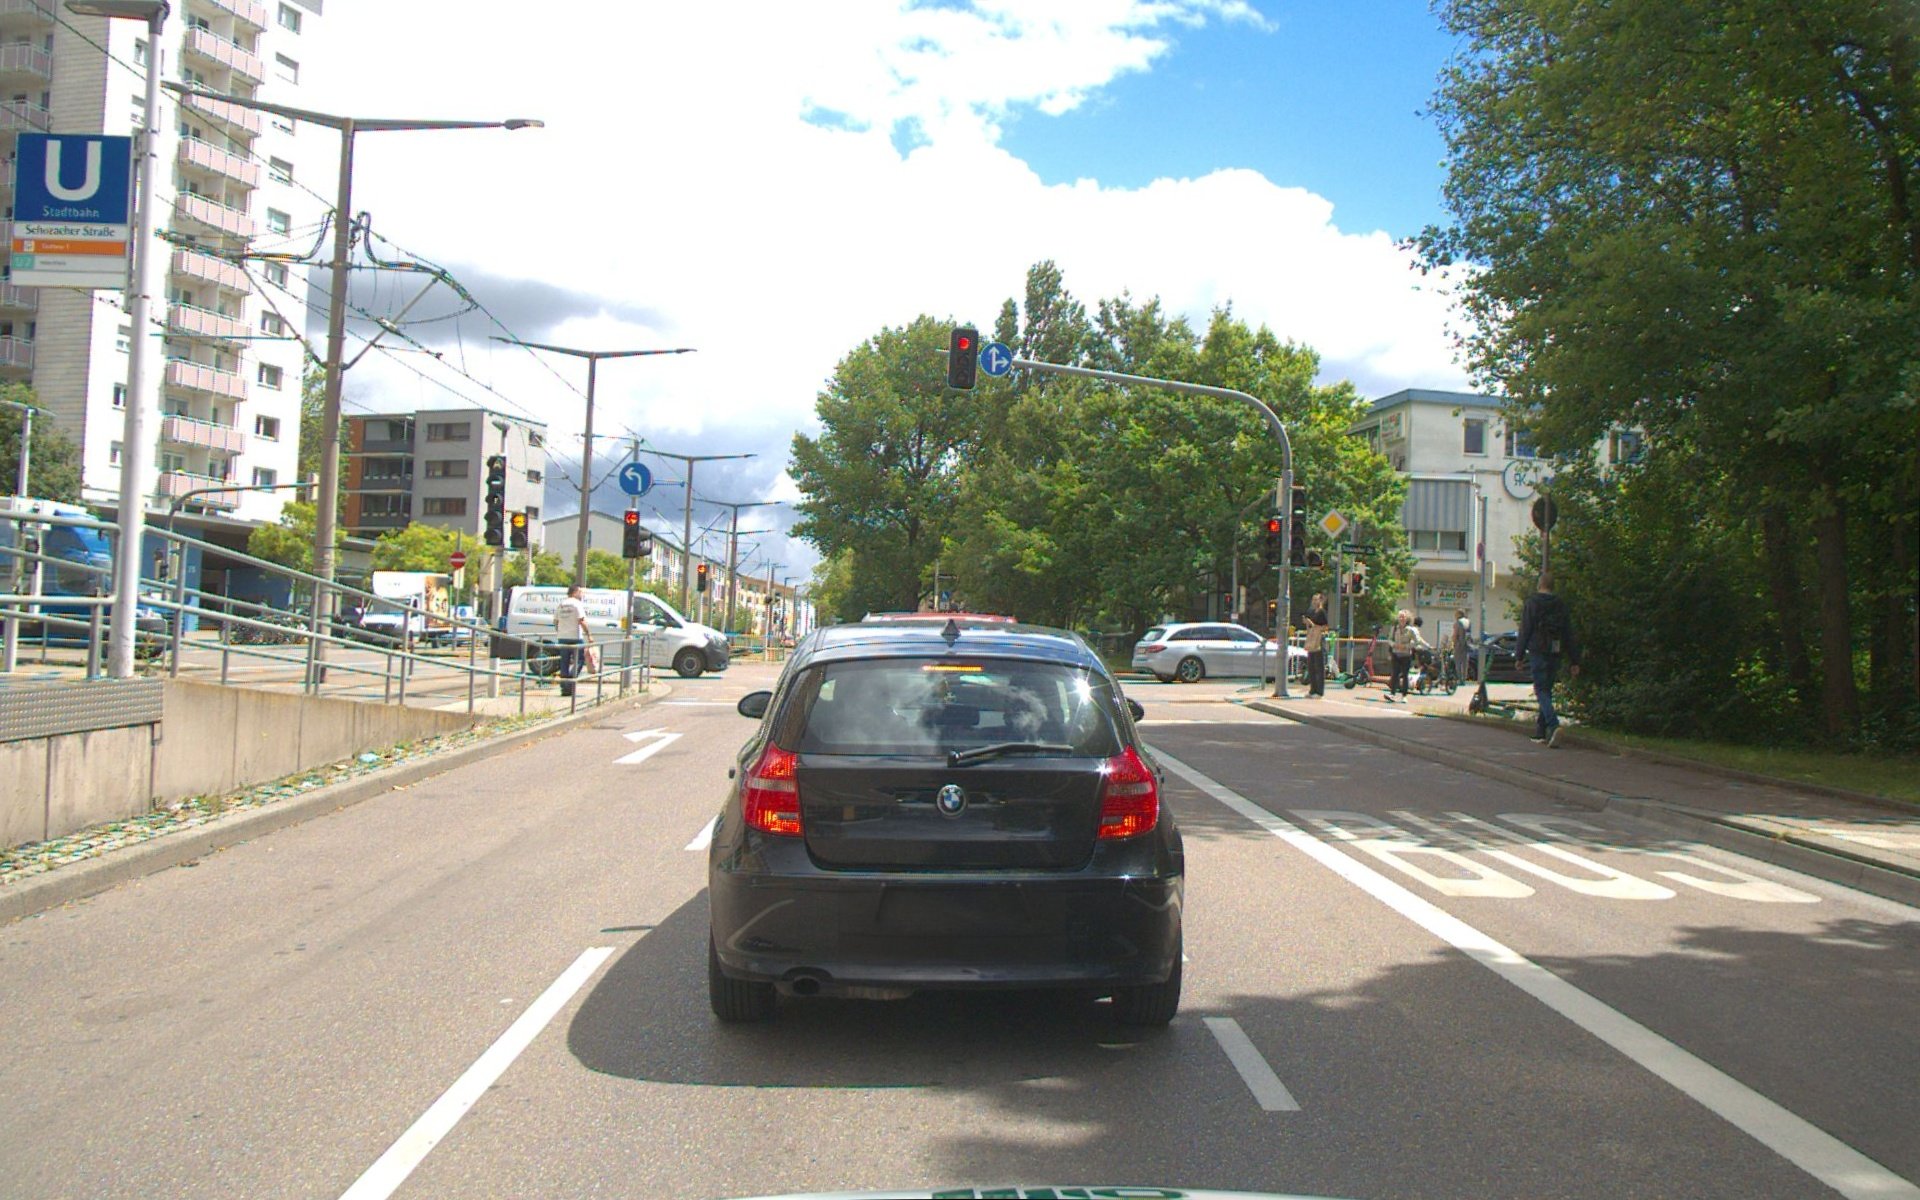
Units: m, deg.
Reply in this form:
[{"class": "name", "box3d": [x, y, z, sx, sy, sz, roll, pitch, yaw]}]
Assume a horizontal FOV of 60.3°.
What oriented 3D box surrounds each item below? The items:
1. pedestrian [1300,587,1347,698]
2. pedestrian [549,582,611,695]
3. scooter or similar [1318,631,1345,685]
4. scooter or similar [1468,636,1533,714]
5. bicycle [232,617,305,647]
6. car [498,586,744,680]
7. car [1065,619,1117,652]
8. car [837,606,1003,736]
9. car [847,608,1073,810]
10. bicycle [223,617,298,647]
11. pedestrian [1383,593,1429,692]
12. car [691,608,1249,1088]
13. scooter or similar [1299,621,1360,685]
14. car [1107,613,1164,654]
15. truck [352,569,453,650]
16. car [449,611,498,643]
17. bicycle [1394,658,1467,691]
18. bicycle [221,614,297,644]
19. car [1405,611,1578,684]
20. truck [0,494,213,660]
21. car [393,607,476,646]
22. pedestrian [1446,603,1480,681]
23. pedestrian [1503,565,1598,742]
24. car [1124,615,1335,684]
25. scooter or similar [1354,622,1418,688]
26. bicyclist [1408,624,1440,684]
[{"class": "pedestrian", "box3d": [6.361, 0.744, 28.937, 0.624, 1.909, 0.517, 1, -1, -11]}, {"class": "pedestrian", "box3d": [-6.046, 0.609, 26.305, 0.671, 1.764, 0.690, 1, -1, 19]}, {"class": "scooter or similar", "box3d": [7.863, 1.219, 35.002, 0.536, 1.082, 1.263, 1, 0, 13]}, {"class": "scooter or similar", "box3d": [9.366, 1.302, 28.674, 0.872, 1.251, 0.454, 6, -1, -1]}, {"class": "bicycle", "box3d": [-26.720, 1.239, 63.921, 2.528, 1.026, 0.748, 3, -3, -29]}, {"class": "car", "box3d": [-7.455, 0.724, 36.804, 5.068, 1.926, 1.998, 1, -1, -4]}, {"class": "car", "box3d": [7.161, 1.937, 90.763, 1.830, 1.691, 3.988, 2, -1, -12]}, {"class": "car", "box3d": [-0.484, 0.817, 21.081, 1.862, 1.447, 4.538, 1, 0, -1]}, {"class": "car", "box3d": [-0.025, 0.792, 13.619, 1.605, 1.424, 3.419, 1, 0, -1]}, {"class": "bicycle", "box3d": [-26.548, 1.238, 62.823, 2.528, 1.026, 0.748, 3, -3, -29]}, {"class": "pedestrian", "box3d": [8.248, 0.784, 30.598, 0.624, 1.797, 0.517, 1, -1, -11]}, {"class": "car", "box3d": [0.011, 0.761, 6.717, 1.666, 1.424, 3.419, 1, 0, -1]}, {"class": "scooter or similar", "box3d": [7.426, 1.061, 33.244, 1.087, 1.257, 0.539, 1, -1, 1]}, {"class": "car", "box3d": [8.449, 1.604, 79.856, 1.694, 1.904, 3.991, 2, -1, -10]}, {"class": "truck", "box3d": [-23.330, 0.397, 69.554, 2.237, 3.172, 7.311, 2, -1, -5]}, {"class": "car", "box3d": [-23.615, 1.299, 80.325, 1.379, 1.486, 3.772, 2, -1, -3]}, {"class": "bicycle", "box3d": [9.501, 1.493, 33.362, 1.571, 0.620, 0.528, 1, -1, -34]}, {"class": "bicycle", "box3d": [-26.221, 1.087, 61.876, 2.528, 1.026, 0.748, 3, -3, -29]}, {"class": "car", "box3d": [15.563, 1.364, 48.537, 4.451, 2.049, 1.996, 0, 0, -9]}, {"class": "truck", "box3d": [-20.253, -0.491, 35.510, 7.135, 3.407, 2.602, 1, -1, -10]}, {"class": "car", "box3d": [-28.116, 1.439, 88.608, 3.892, 2.009, 1.630, 2, -1, -43]}, {"class": "pedestrian", "box3d": [11.466, 0.958, 37.699, 0.644, 1.743, 0.461, 1, -1, 27]}, {"class": "pedestrian", "box3d": [6.589, 0.587, 18.503, 0.778, 1.909, 1.014, 1, -1, 7]}, {"class": "car", "box3d": [6.535, 1.194, 40.343, 4.701, 1.549, 1.996, 1, -1, -9]}, {"class": "scooter or similar", "box3d": [8.726, 1.117, 33.894, 1.127, 1.294, 0.555, 2, -1, 1]}, {"class": "bicyclist", "box3d": [9.330, 1.081, 33.253, 0.395, 1.177, 0.497, 0, 0, -34]}]
